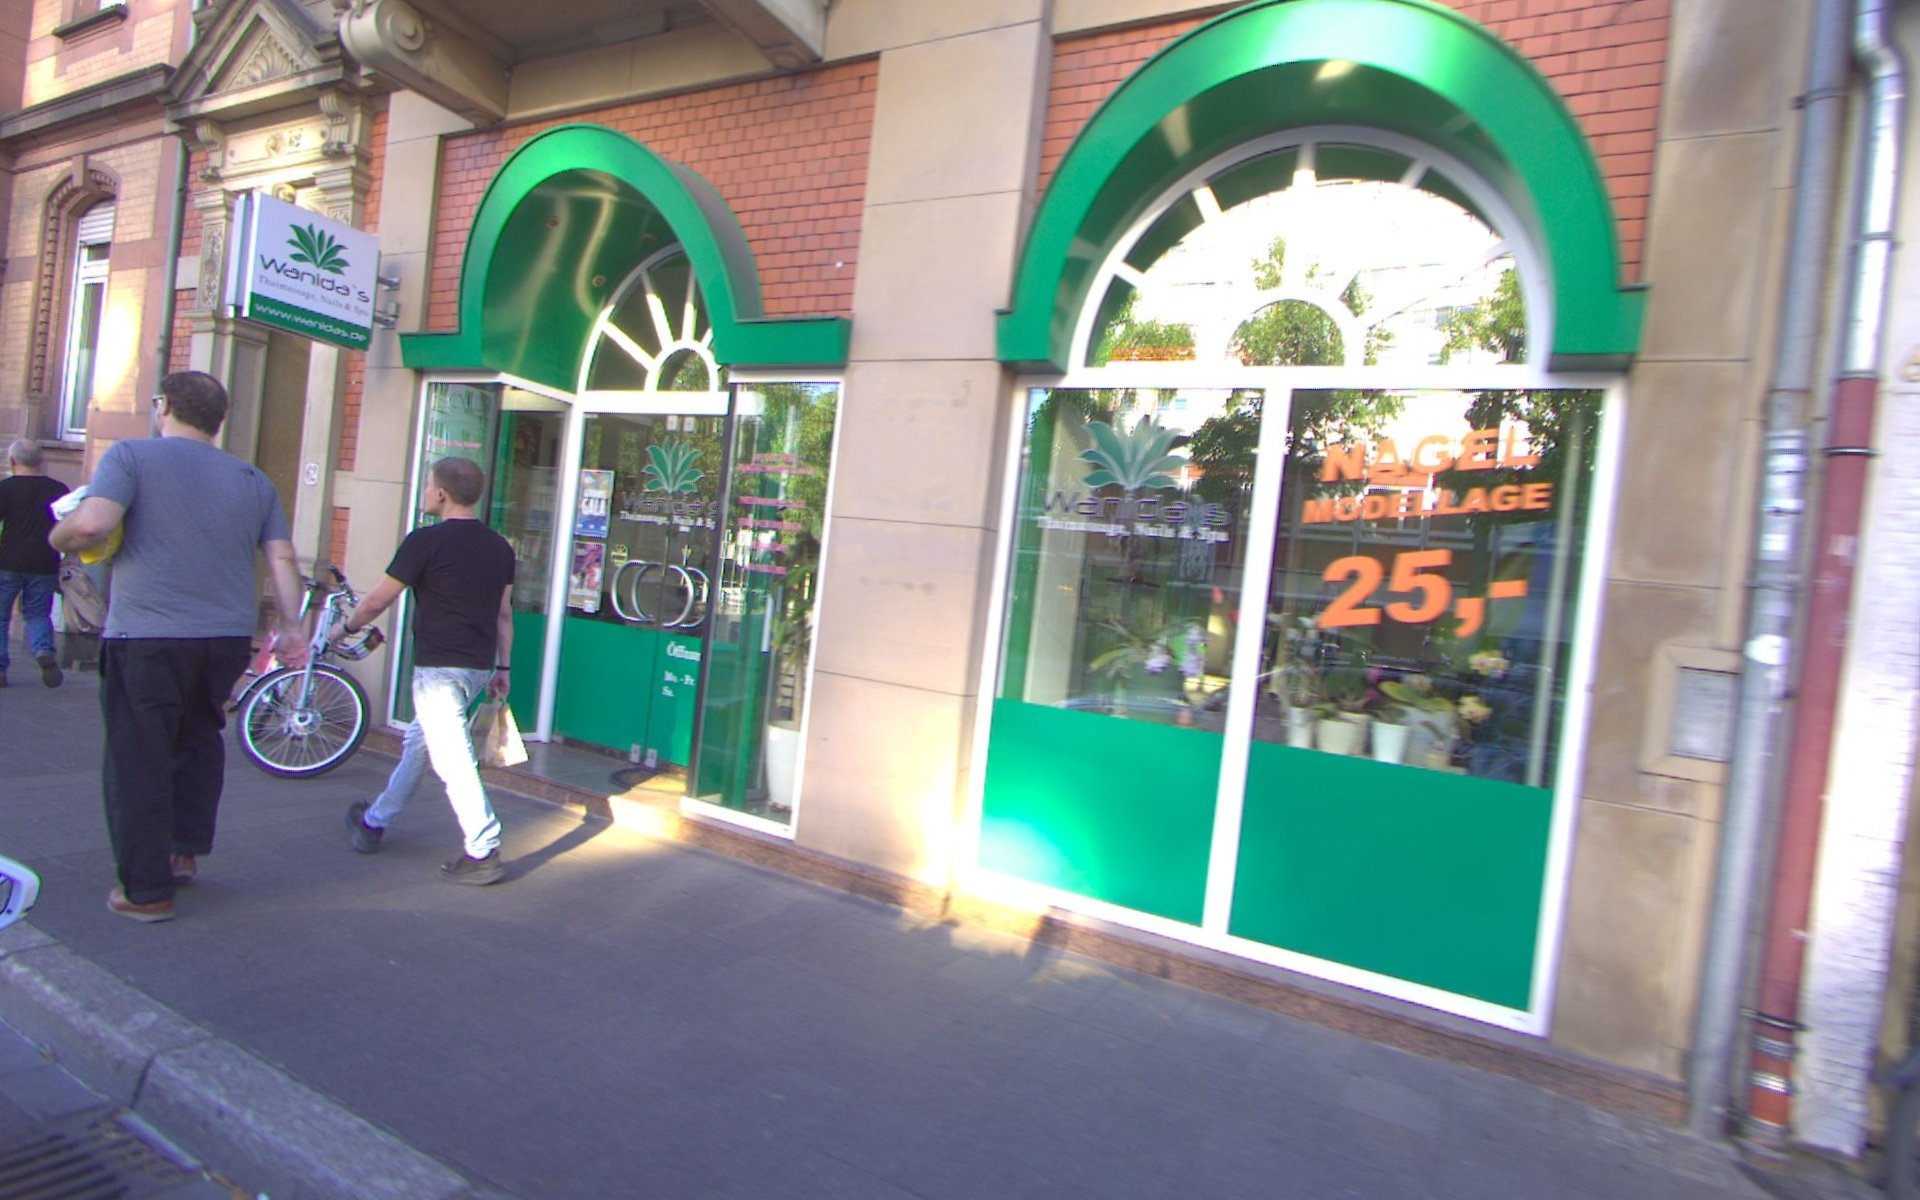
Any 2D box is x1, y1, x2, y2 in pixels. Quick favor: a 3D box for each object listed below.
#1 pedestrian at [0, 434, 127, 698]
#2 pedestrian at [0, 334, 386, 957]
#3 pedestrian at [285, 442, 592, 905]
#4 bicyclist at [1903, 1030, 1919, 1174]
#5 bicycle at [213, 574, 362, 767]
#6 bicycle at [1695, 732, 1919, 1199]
[{"bbox_3d":[-6.530,-0.243,7.040,0.741,1.746,0.776,7,2,29],"label":"pedestrian"},{"bbox_3d":[-2.763,0.130,3.620,0.741,1.919,0.822,7,2,29],"label":"pedestrian"},{"bbox_3d":[-2.220,0.274,4.321,0.741,1.746,0.776,7,2,29],"label":"pedestrian"},{"bbox_3d":[3.133,0.693,2.528,0.730,1.906,0.600,6,1,3],"label":"bicyclist"},{"bbox_3d":[-4.164,0.403,6.198,1.222,1.009,0.344,7,2,38],"label":"bicycle"},{"bbox_3d":[3.104,1.114,2.527,1.859,1.269,0.668,7,1,2],"label":"bicycle"}]
